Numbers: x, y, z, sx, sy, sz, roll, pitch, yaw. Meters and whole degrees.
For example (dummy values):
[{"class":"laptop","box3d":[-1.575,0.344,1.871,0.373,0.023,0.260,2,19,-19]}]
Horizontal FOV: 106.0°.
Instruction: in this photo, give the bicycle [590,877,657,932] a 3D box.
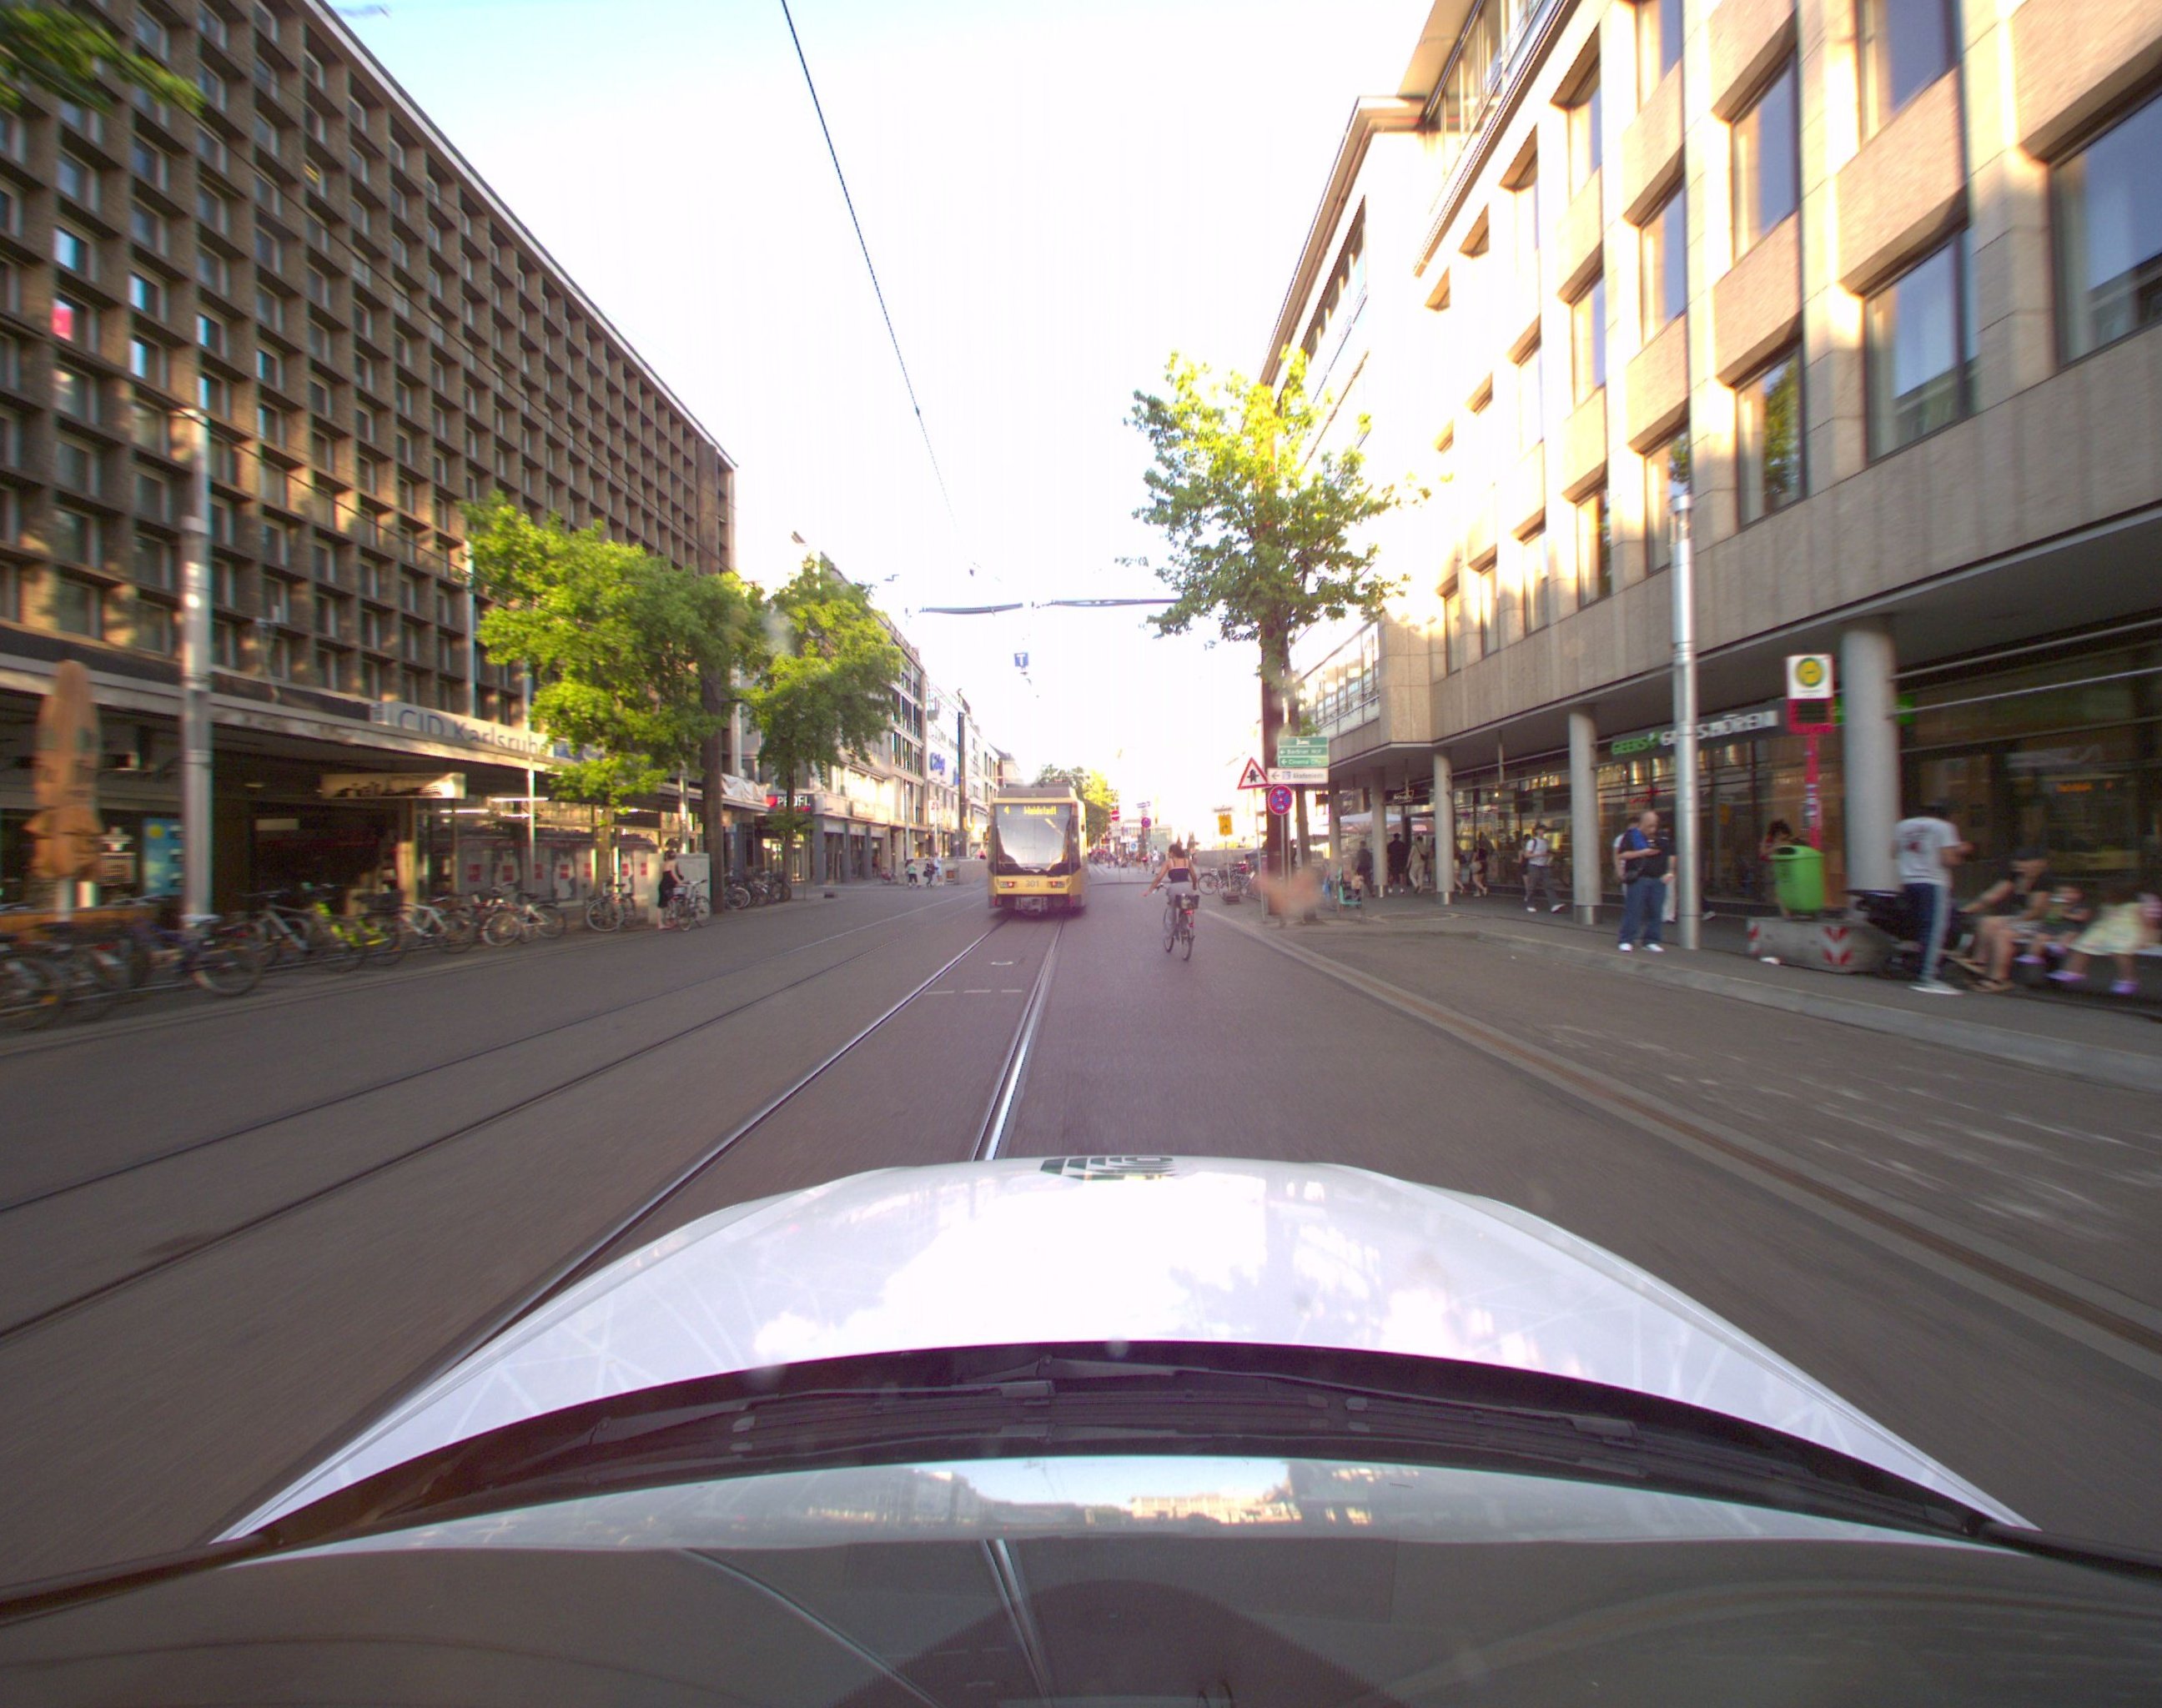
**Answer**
[{"class":"bicycle","box3d":[-9.805,1.060,17.535,0.487,1.045,1.776,0,0,-2]}]

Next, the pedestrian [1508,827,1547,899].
[{"class":"pedestrian","box3d":[11.000,0.224,20.071,0.568,1.731,0.617,-2,0,-1]}]

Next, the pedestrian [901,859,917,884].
[{"class":"pedestrian","box3d":[-9.824,1.013,46.558,0.548,1.434,0.689,-2,-1,38]}]

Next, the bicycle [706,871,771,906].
[{"class":"bicycle","box3d":[-10.569,1.066,25.156,1.766,1.045,0.489,0,0,0]}]

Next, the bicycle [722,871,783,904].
[{"class":"bicycle","box3d":[-10.558,1.072,26.217,1.766,1.045,0.489,0,0,0]}]

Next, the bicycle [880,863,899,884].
[{"class":"bicycle","box3d":[-11.289,1.128,48.018,0.496,1.107,1.803,-1,1,6]}]

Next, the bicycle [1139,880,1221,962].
[{"class":"bicycle","box3d":[1.464,0.969,12.439,0.814,1.073,2.109,0,0,-5]}]

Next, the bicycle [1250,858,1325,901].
[{"class":"bicycle","box3d":[6.147,0.749,24.323,1.992,1.155,0.724,-3,0,-5]}]

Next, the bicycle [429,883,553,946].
[{"class":"bicycle","box3d":[-10.531,1.077,14.573,1.769,1.071,0.488,1,0,-6]}]

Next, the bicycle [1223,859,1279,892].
[{"class":"bicycle","box3d":[6.162,0.780,29.568,1.848,1.109,0.666,-3,0,-3]}]

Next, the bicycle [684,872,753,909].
[{"class":"bicycle","box3d":[-10.566,1.058,23.763,1.766,1.045,0.489,0,0,0]}]

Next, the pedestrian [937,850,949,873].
[{"class":"pedestrian","box3d":[-10.536,0.587,62.077,0.632,1.725,0.598,0,-2,-43]}]

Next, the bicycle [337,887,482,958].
[{"class":"bicycle","box3d":[-10.527,1.067,12.808,1.769,1.071,0.488,1,0,-6]}]

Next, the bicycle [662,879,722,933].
[{"class":"bicycle","box3d":[-8.436,1.097,17.727,0.487,1.045,1.776,0,0,-2]}]

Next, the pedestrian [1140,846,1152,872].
[{"class":"pedestrian","box3d":[4.391,0.348,54.937,0.716,1.725,0.709,-1,-1,0]}]

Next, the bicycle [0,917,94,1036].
[{"class":"bicycle","box3d":[-10.051,1.077,7.246,1.769,0.990,0.488,0,1,-6]}]

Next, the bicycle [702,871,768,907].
[{"class":"bicycle","box3d":[-10.575,1.065,24.913,1.766,1.045,0.489,0,0,0]}]

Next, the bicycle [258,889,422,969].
[{"class":"bicycle","box3d":[-10.489,1.059,11.568,1.769,1.071,0.488,1,0,-6]}]

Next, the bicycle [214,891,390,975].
[{"class":"bicycle","box3d":[-10.475,1.056,10.990,1.769,1.071,0.488,1,0,-6]}]

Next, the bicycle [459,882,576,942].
[{"class":"bicycle","box3d":[-10.514,1.077,15.226,1.769,1.071,0.488,1,0,-6]}]

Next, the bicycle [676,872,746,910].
[{"class":"bicycle","box3d":[-10.575,1.055,23.272,1.766,1.045,0.489,0,0,0]}]

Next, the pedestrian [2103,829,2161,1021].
[{"class":"pedestrian","box3d":[8.207,0.510,5.872,0.810,1.381,0.662,0,-1,2]}]

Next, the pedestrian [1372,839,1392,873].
[{"class":"pedestrian","box3d":[16.206,0.108,43.879,0.805,1.823,0.807,-1,1,5]}]

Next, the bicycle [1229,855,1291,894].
[{"class":"bicycle","box3d":[6.143,0.691,28.032,1.912,1.222,0.762,-3,0,-5]}]

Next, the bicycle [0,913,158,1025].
[{"class":"bicycle","box3d":[-10.054,1.080,7.774,1.769,0.990,0.488,0,1,-6]}]

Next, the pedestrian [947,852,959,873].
[{"class":"pedestrian","box3d":[-9.841,0.638,62.552,0.631,1.588,0.598,0,-2,-42]}]

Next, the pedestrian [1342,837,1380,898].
[{"class":"pedestrian","box3d":[8.208,0.382,23.880,0.760,1.719,0.924,-2,-1,1]}]

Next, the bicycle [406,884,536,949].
[{"class":"bicycle","box3d":[-10.481,1.074,14.028,1.769,1.071,0.488,1,0,-6]}]

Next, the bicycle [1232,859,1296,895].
[{"class":"bicycle","box3d":[6.134,0.761,27.285,1.912,1.077,0.762,-3,0,-5]}]

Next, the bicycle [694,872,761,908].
[{"class":"bicycle","box3d":[-10.558,1.061,24.335,1.766,1.045,0.489,0,0,0]}]

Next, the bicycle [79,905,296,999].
[{"class":"bicycle","box3d":[-10.032,1.088,9.186,1.769,0.990,0.488,0,1,-6]}]

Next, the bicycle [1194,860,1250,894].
[{"class":"bicycle","box3d":[5.075,0.833,29.422,1.848,1.109,0.666,-3,0,-3]}]

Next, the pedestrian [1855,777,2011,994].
[{"class":"pedestrian","box3d":[7.646,0.273,7.340,0.637,1.839,0.668,-2,-1,1]}]

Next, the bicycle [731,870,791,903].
[{"class":"bicycle","box3d":[-10.515,1.076,26.797,1.766,1.045,0.489,0,0,0]}]

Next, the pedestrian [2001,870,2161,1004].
[{"class":"pedestrian","box3d":[8.307,0.664,6.714,0.810,1.042,0.544,0,-1,2]}]

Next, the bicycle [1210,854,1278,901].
[{"class":"bicycle","box3d":[5.050,0.708,25.282,1.912,1.333,0.724,-3,0,-5]}]

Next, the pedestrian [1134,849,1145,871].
[{"class":"pedestrian","box3d":[5.020,0.492,69.838,0.734,1.823,0.816,-1,0,-14]}]

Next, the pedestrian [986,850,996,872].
[{"class":"pedestrian","box3d":[-6.892,0.527,62.553,0.712,1.698,0.784,-1,-1,-6]}]

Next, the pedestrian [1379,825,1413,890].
[{"class":"pedestrian","box3d":[9.976,0.119,25.810,0.684,2.013,0.783,-2,0,1]}]
